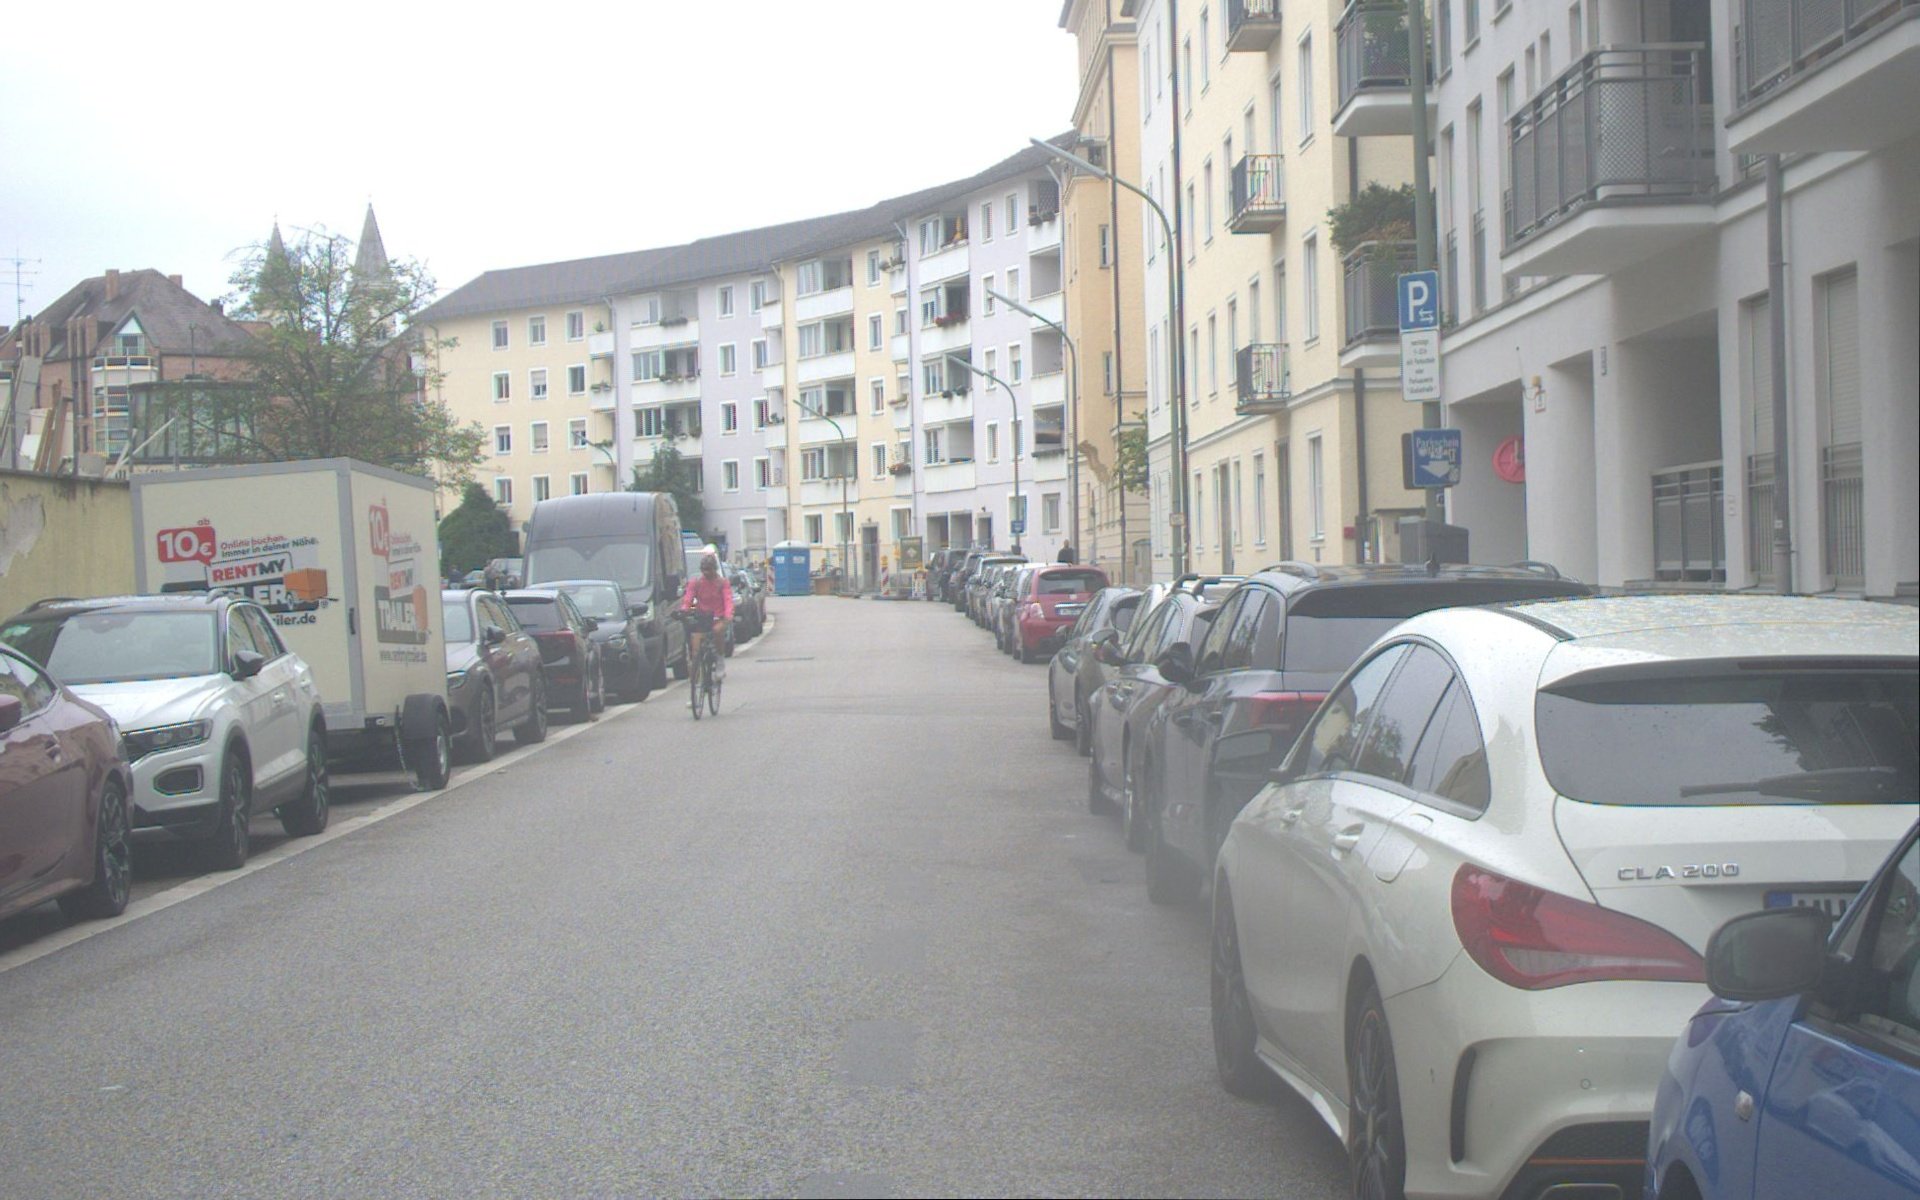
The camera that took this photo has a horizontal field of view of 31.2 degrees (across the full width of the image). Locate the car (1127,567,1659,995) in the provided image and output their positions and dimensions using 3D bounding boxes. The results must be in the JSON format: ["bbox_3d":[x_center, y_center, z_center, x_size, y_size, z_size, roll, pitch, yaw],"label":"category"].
[{"bbox_3d":[1.672,0.641,14.496,1.603,1.525,3.984,1,1,-2],"label":"car"}]

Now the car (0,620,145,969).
[{"bbox_3d":[-4.885,0.851,14.617,1.860,1.408,4.334,-3,0,-2],"label":"car"}]

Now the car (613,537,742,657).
[{"bbox_3d":[-4.939,-0.094,60.644,1.882,1.925,4.601,-3,1,-1],"label":"car"}]

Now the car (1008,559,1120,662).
[{"bbox_3d":[1.608,0.139,53.969,1.595,1.503,3.801,-1,1,0],"label":"car"}]

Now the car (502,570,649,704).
[{"bbox_3d":[-4.732,0.438,42.639,1.585,1.533,3.544,-2,0,-4],"label":"car"}]

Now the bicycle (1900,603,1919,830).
[{"bbox_3d":[5.229,0.598,16.703,0.627,1.156,2.128,-2,1,-2],"label":"bicycle"}]

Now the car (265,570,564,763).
[{"bbox_3d":[-4.865,0.545,31.265,1.766,1.533,4.540,-3,0,2],"label":"car"}]

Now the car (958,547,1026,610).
[{"bbox_3d":[0.814,-0.586,89.659,1.590,1.577,4.299,0,1,-2],"label":"car"}]

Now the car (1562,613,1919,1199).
[{"bbox_3d":[1.863,0.746,3.864,1.618,1.407,3.554,1,0,-2],"label":"car"}]

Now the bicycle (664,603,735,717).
[{"bbox_3d":[-2.741,0.616,36.309,0.504,1.124,1.773,-2,1,2],"label":"bicycle"}]

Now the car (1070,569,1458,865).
[{"bbox_3d":[1.679,0.596,20.442,1.734,1.525,4.622,1,1,-2],"label":"car"}]

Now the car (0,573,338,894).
[{"bbox_3d":[-4.809,0.700,19.956,1.686,1.597,3.922,-3,1,-1],"label":"car"}]

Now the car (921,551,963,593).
[{"bbox_3d":[-0.589,-0.910,110.858,1.272,1.294,2.798,-1,1,-2],"label":"car"}]

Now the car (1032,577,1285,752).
[{"bbox_3d":[1.674,0.524,30.285,1.763,1.403,4.079,-1,0,-3],"label":"car"}]

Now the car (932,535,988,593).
[{"bbox_3d":[-0.022,-1.052,99.348,1.474,1.635,4.001,0,1,-2],"label":"car"}]

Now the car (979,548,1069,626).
[{"bbox_3d":[1.281,-0.290,69.718,1.599,1.486,3.799,-1,1,-2],"label":"car"}]

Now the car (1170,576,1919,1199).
[{"bbox_3d":[1.526,0.685,8.109,1.658,1.435,4.207,1,1,-2],"label":"car"}]

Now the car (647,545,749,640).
[{"bbox_3d":[-5.091,-0.177,67.251,1.701,1.685,4.028,-3,1,-1],"label":"car"}]

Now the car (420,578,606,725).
[{"bbox_3d":[-4.848,0.524,37.657,1.700,1.441,3.825,-1,1,-3],"label":"car"}]

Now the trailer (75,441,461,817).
[{"bbox_3d":[-4.996,0.160,25.434,1.709,2.453,4.386,-3,1,2],"label":"trailer"}]

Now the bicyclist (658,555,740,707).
[{"bbox_3d":[-2.751,0.314,36.343,0.694,1.556,0.966,-2,1,2],"label":"bicyclist"}]

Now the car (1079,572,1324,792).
[{"bbox_3d":[1.751,0.558,25.805,1.519,1.525,3.527,0,1,-1],"label":"car"}]

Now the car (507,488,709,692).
[{"bbox_3d":[-4.810,-0.197,47.751,2.088,2.627,5.377,-1,1,1],"label":"car"}]
